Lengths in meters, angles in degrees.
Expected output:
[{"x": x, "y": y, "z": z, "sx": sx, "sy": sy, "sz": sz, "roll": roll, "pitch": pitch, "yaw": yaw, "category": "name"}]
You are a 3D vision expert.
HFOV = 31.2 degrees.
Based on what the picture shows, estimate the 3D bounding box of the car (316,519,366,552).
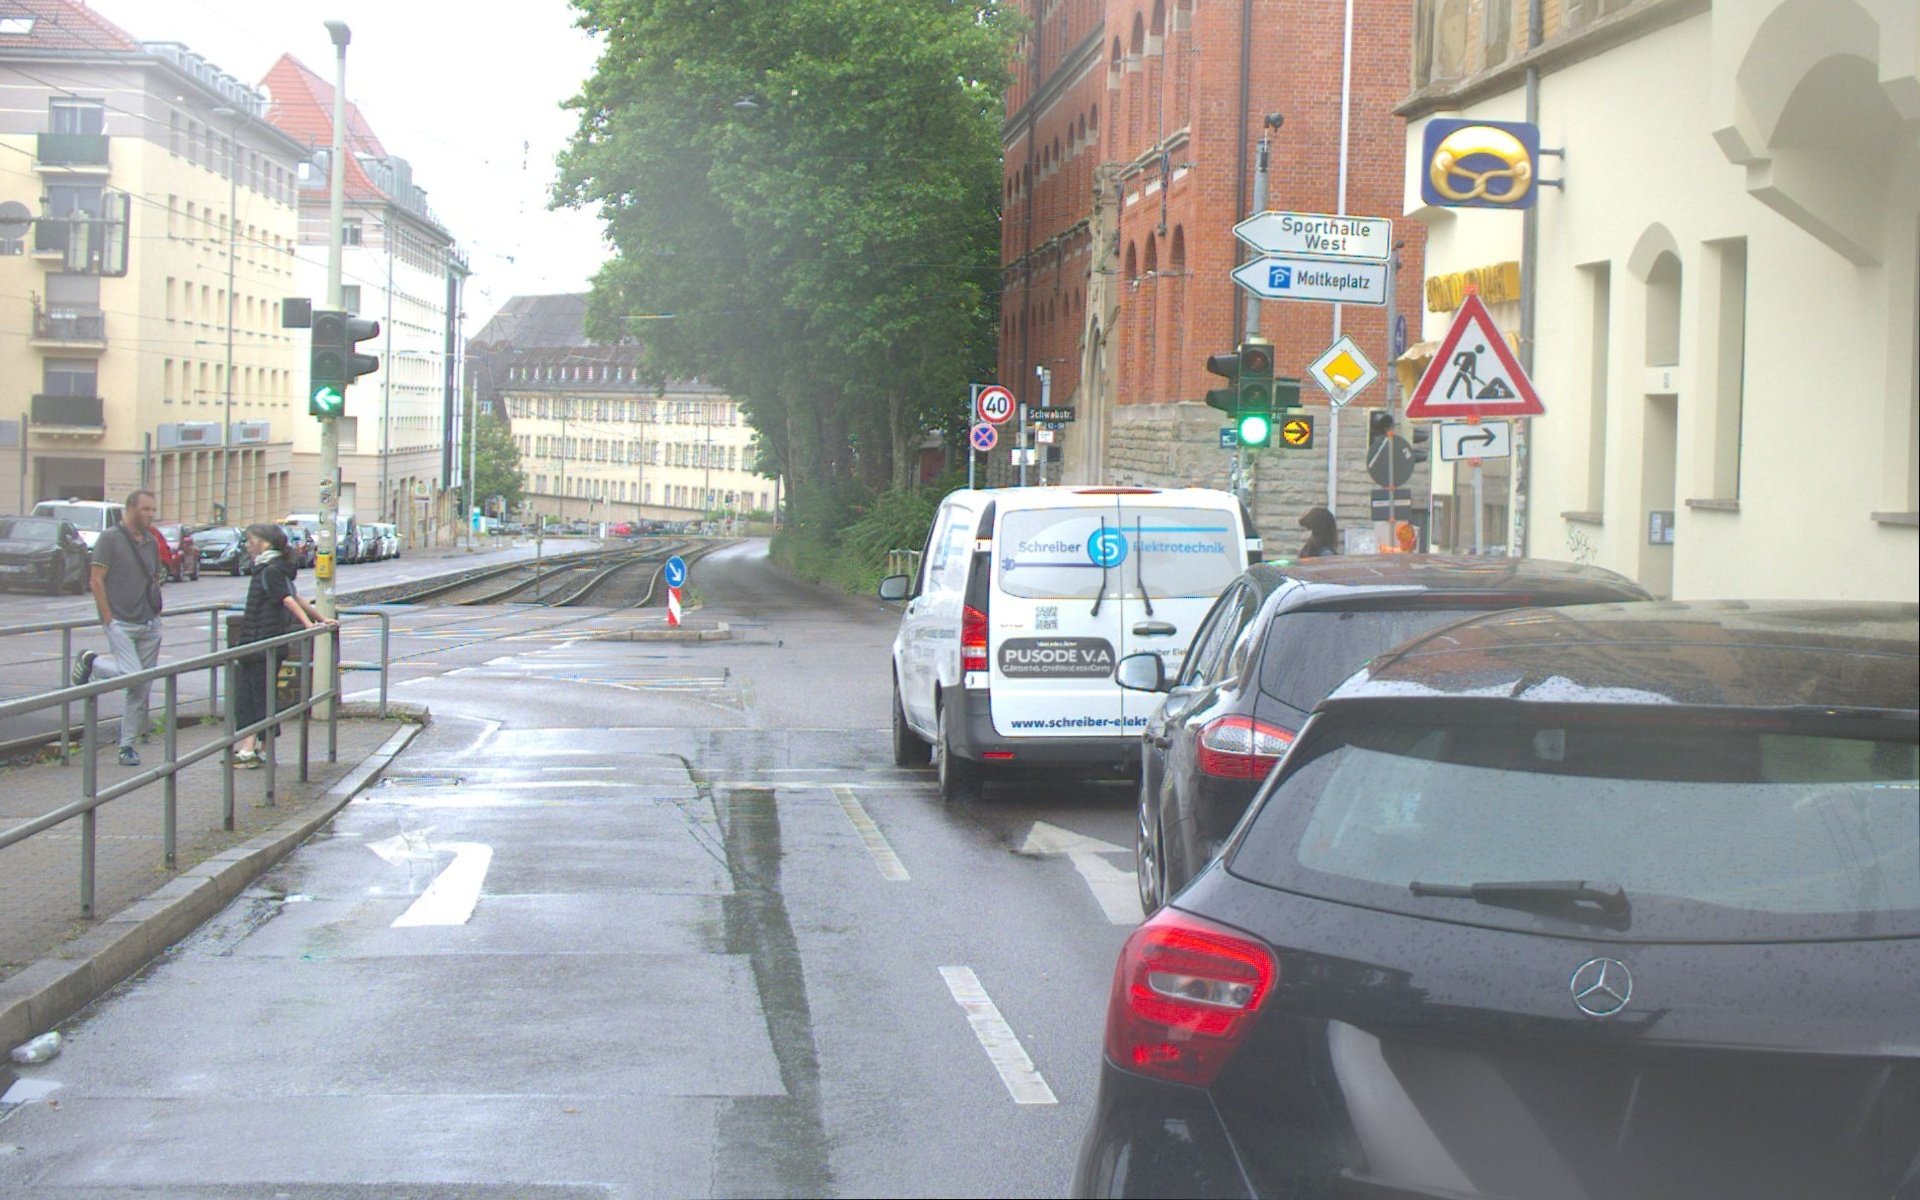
[{"x": -22.743, "y": -2.378, "z": 126.312, "sx": 1.395, "sy": 1.167, "sz": 3.162, "roll": 1, "pitch": 1, "yaw": -3, "category": "car"}]

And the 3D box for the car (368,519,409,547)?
[{"x": -24.629, "y": -2.887, "z": 148.194, "sx": 1.395, "sy": 1.167, "sz": 3.162, "roll": 1, "pitch": 1, "yaw": -3, "category": "car"}]

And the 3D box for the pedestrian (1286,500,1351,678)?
[{"x": 2.589, "y": -0.081, "z": 24.827, "sx": 0.412, "sy": 1.266, "sz": 0.292, "roll": 2, "pitch": 1, "yaw": 2, "category": "pedestrian"}]

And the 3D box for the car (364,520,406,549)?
[{"x": -24.024, "y": -2.742, "z": 143.731, "sx": 1.395, "sy": 1.167, "sz": 3.162, "roll": 1, "pitch": 1, "yaw": -3, "category": "car"}]

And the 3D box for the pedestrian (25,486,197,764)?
[{"x": -5.397, "y": 0.149, "z": 21.850, "sx": 0.740, "sy": 1.718, "sz": 0.739, "roll": 2, "pitch": 1, "yaw": 43, "category": "pedestrian"}]

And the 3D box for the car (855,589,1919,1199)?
[{"x": 1.563, "y": 0.706, "z": 6.092, "sx": 1.897, "sy": 1.385, "sz": 3.995, "roll": 2, "pitch": 1, "yaw": 25, "category": "car"}]

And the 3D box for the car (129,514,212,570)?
[{"x": -19.981, "y": -1.481, "z": 87.068, "sx": 1.499, "sy": 1.351, "sz": 3.162, "roll": 1, "pitch": 1, "yaw": -3, "category": "car"}]

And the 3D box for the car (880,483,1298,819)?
[{"x": 0.672, "y": 0.236, "z": 21.245, "sx": 1.933, "sy": 1.825, "sz": 4.282, "roll": 1, "pitch": 1, "yaw": -6, "category": "car"}]

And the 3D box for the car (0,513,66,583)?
[{"x": -19.241, "y": -1.076, "z": 69.881, "sx": 1.451, "sy": 1.314, "sz": 3.296, "roll": 2, "pitch": 1, "yaw": -5, "category": "car"}]

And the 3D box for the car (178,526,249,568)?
[{"x": -20.720, "y": -1.476, "z": 95.522, "sx": 1.437, "sy": 1.103, "sz": 3.162, "roll": 1, "pitch": 1, "yaw": -3, "category": "car"}]

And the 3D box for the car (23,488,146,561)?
[{"x": -19.434, "y": -1.675, "z": 76.476, "sx": 1.786, "sy": 1.525, "sz": 4.463, "roll": 1, "pitch": 1, "yaw": -3, "category": "car"}]

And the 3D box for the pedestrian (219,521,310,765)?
[{"x": -4.413, "y": 0.267, "z": 21.819, "sx": 0.531, "sy": 1.525, "sz": 0.437, "roll": 1, "pitch": 1, "yaw": -11, "category": "pedestrian"}]

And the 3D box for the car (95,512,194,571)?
[{"x": -19.693, "y": -1.415, "z": 83.125, "sx": 1.680, "sy": 1.351, "sz": 3.703, "roll": 1, "pitch": 1, "yaw": -3, "category": "car"}]

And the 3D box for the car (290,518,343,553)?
[{"x": -22.451, "y": -2.247, "z": 120.018, "sx": 1.395, "sy": 1.167, "sz": 3.162, "roll": 1, "pitch": 1, "yaw": -3, "category": "car"}]

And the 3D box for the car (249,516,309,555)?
[{"x": -21.558, "y": -2.047, "z": 108.900, "sx": 1.395, "sy": 1.167, "sz": 3.162, "roll": 1, "pitch": 1, "yaw": -3, "category": "car"}]

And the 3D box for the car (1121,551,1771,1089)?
[{"x": 1.470, "y": 0.590, "z": 11.855, "sx": 1.713, "sy": 1.464, "sz": 4.281, "roll": 2, "pitch": 1, "yaw": 2, "category": "car"}]
